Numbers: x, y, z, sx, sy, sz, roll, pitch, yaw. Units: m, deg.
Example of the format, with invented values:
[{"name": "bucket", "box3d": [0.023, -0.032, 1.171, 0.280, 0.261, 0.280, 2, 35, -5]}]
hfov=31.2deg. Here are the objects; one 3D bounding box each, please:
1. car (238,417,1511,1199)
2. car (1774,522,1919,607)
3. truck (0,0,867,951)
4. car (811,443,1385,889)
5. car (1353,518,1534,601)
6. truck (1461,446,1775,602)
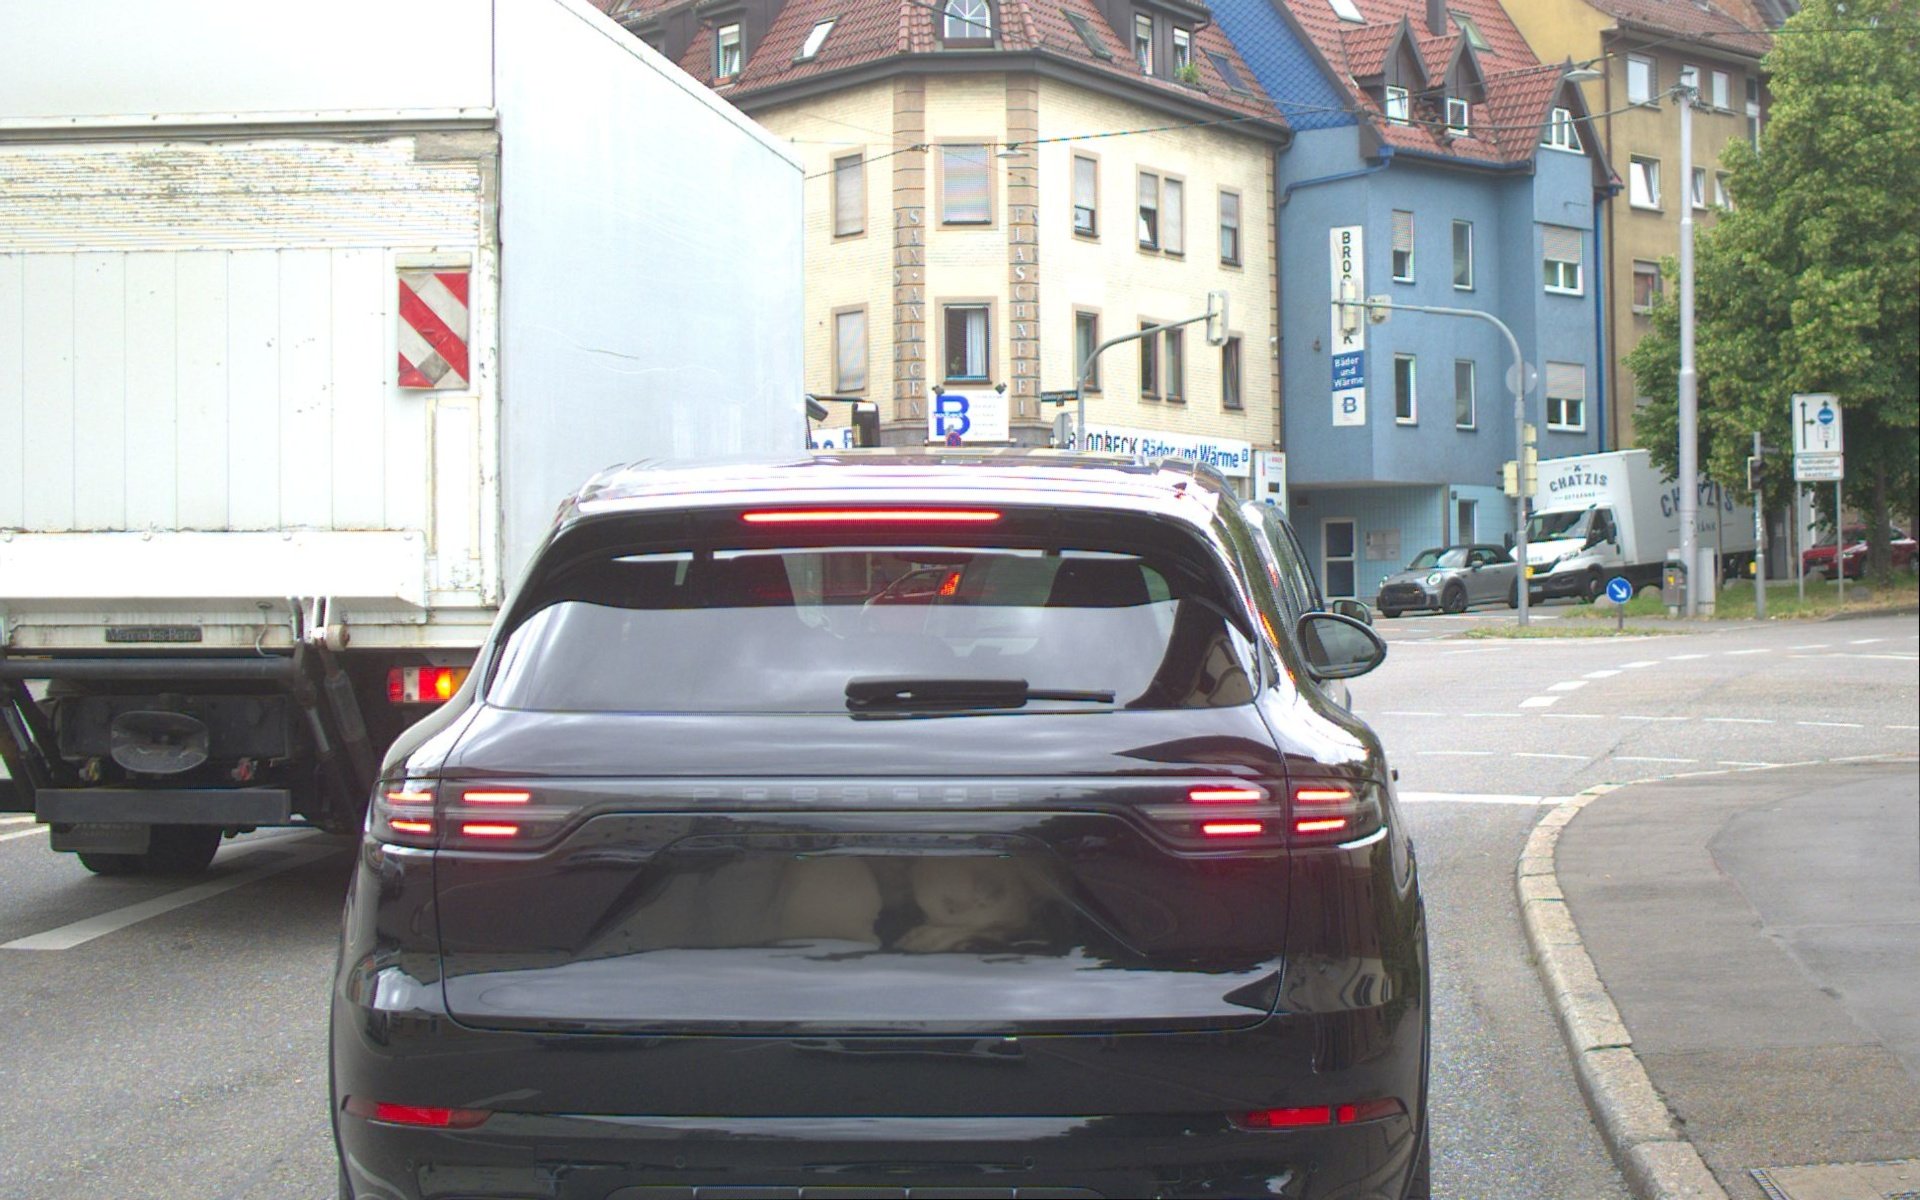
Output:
[{"name": "car", "box3d": [-0.239, 0.500, 7.358, 1.978, 1.678, 4.001, 0, 2, -3]}, {"name": "car", "box3d": [22.354, -0.875, 86.173, 1.999, 2.007, 3.990, 2, 1, 43]}, {"name": "truck", "box3d": [-2.407, -0.683, 15.971, 2.769, 3.562, 8.062, 0, 1, 7]}, {"name": "car", "box3d": [0.754, 0.222, 15.064, 1.994, 1.678, 3.998, 0, 1, 10]}, {"name": "car", "box3d": [10.139, -0.851, 71.892, 1.998, 1.678, 3.991, 0, 1, 39]}, {"name": "truck", "box3d": [15.112, -1.677, 78.440, 2.880, 3.328, 8.772, 2, 1, 41]}]
